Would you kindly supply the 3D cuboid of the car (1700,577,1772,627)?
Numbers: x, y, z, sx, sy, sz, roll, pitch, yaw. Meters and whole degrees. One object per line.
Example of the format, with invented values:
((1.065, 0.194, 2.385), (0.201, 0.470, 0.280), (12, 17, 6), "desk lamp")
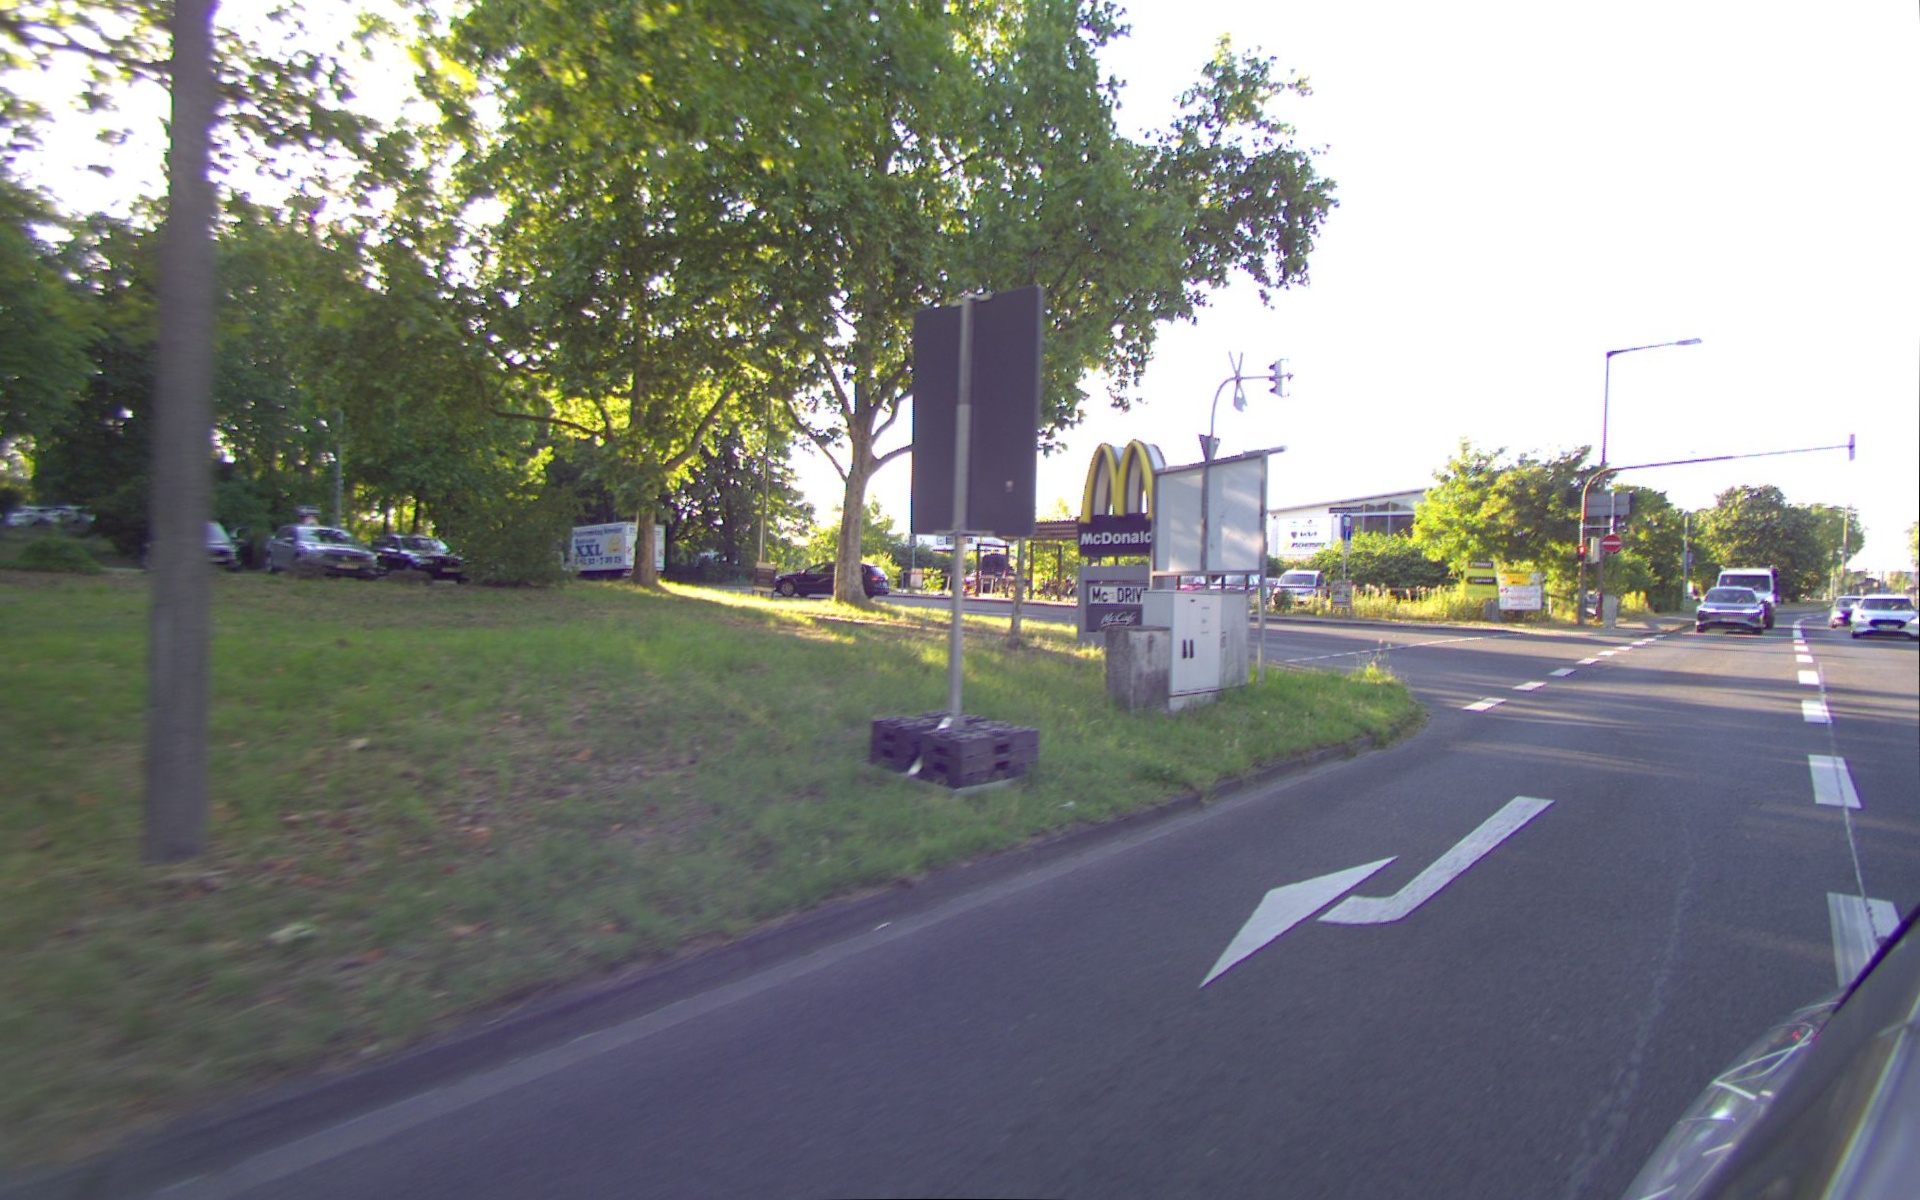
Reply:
((28.219, 0.036, 36.758), (1.868, 1.638, 4.482), (3, 2, 39), "car")

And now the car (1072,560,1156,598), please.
((7.513, -1.007, 49.067), (2.110, 1.669, 4.259), (3, 2, 39), "car")

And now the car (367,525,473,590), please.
((-15.652, -1.237, 29.290), (3.492, 1.751, 1.653), (4, 2, 43), "car")

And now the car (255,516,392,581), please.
((-17.333, -1.405, 27.487), (4.385, 1.593, 2.013), (3, 2, 41), "car")

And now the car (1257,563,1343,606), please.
((14.392, -0.660, 42.735), (2.110, 1.669, 4.167), (3, 2, 39), "car")

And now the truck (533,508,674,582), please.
((-21.219, -3.247, 59.763), (11.066, 3.924, 3.144), (4, 2, 44), "truck")

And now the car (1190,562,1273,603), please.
((12.038, -0.761, 44.742), (2.111, 1.669, 3.943), (3, 2, 39), "car")

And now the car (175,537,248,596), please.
((-23.755, -1.090, 32.070), (1.649, 1.751, 3.500), (1, 2, -40), "car")

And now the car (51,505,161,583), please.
((-20.972, -1.373, 24.823), (3.492, 1.751, 1.653), (4, 2, 43), "car")

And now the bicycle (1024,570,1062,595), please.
((3.604, -0.762, 43.939), (0.543, 1.051, 1.863), (3, 2, 45), "bicycle")

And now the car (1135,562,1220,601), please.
((10.026, -0.838, 46.496), (2.110, 1.669, 4.259), (3, 2, 39), "car")

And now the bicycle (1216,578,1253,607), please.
((10.435, -0.297, 38.444), (0.542, 1.051, 1.865), (3, 2, 41), "bicycle")

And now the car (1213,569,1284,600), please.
((16.687, -0.886, 58.505), (3.929, 1.657, 2.118), (1, 2, -41), "car")

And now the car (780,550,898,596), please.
((-4.666, -1.041, 39.274), (4.189, 1.575, 1.826), (2, 1, 9), "car")

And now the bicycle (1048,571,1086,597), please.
((4.553, -0.670, 43.016), (0.543, 1.051, 1.863), (3, 2, 45), "bicycle")

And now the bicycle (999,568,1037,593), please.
((2.581, -0.872, 44.981), (0.543, 1.051, 1.863), (3, 2, 45), "bicycle")

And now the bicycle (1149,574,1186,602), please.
((8.159, -0.464, 39.768), (0.542, 1.051, 1.865), (3, 2, 41), "bicycle")

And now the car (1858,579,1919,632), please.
((31.752, 0.180, 34.080), (3.933, 1.638, 1.872), (0, 2, -44), "car")

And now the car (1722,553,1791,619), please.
((34.079, -0.585, 43.218), (2.001, 2.597, 5.789), (3, 2, 41), "car")
